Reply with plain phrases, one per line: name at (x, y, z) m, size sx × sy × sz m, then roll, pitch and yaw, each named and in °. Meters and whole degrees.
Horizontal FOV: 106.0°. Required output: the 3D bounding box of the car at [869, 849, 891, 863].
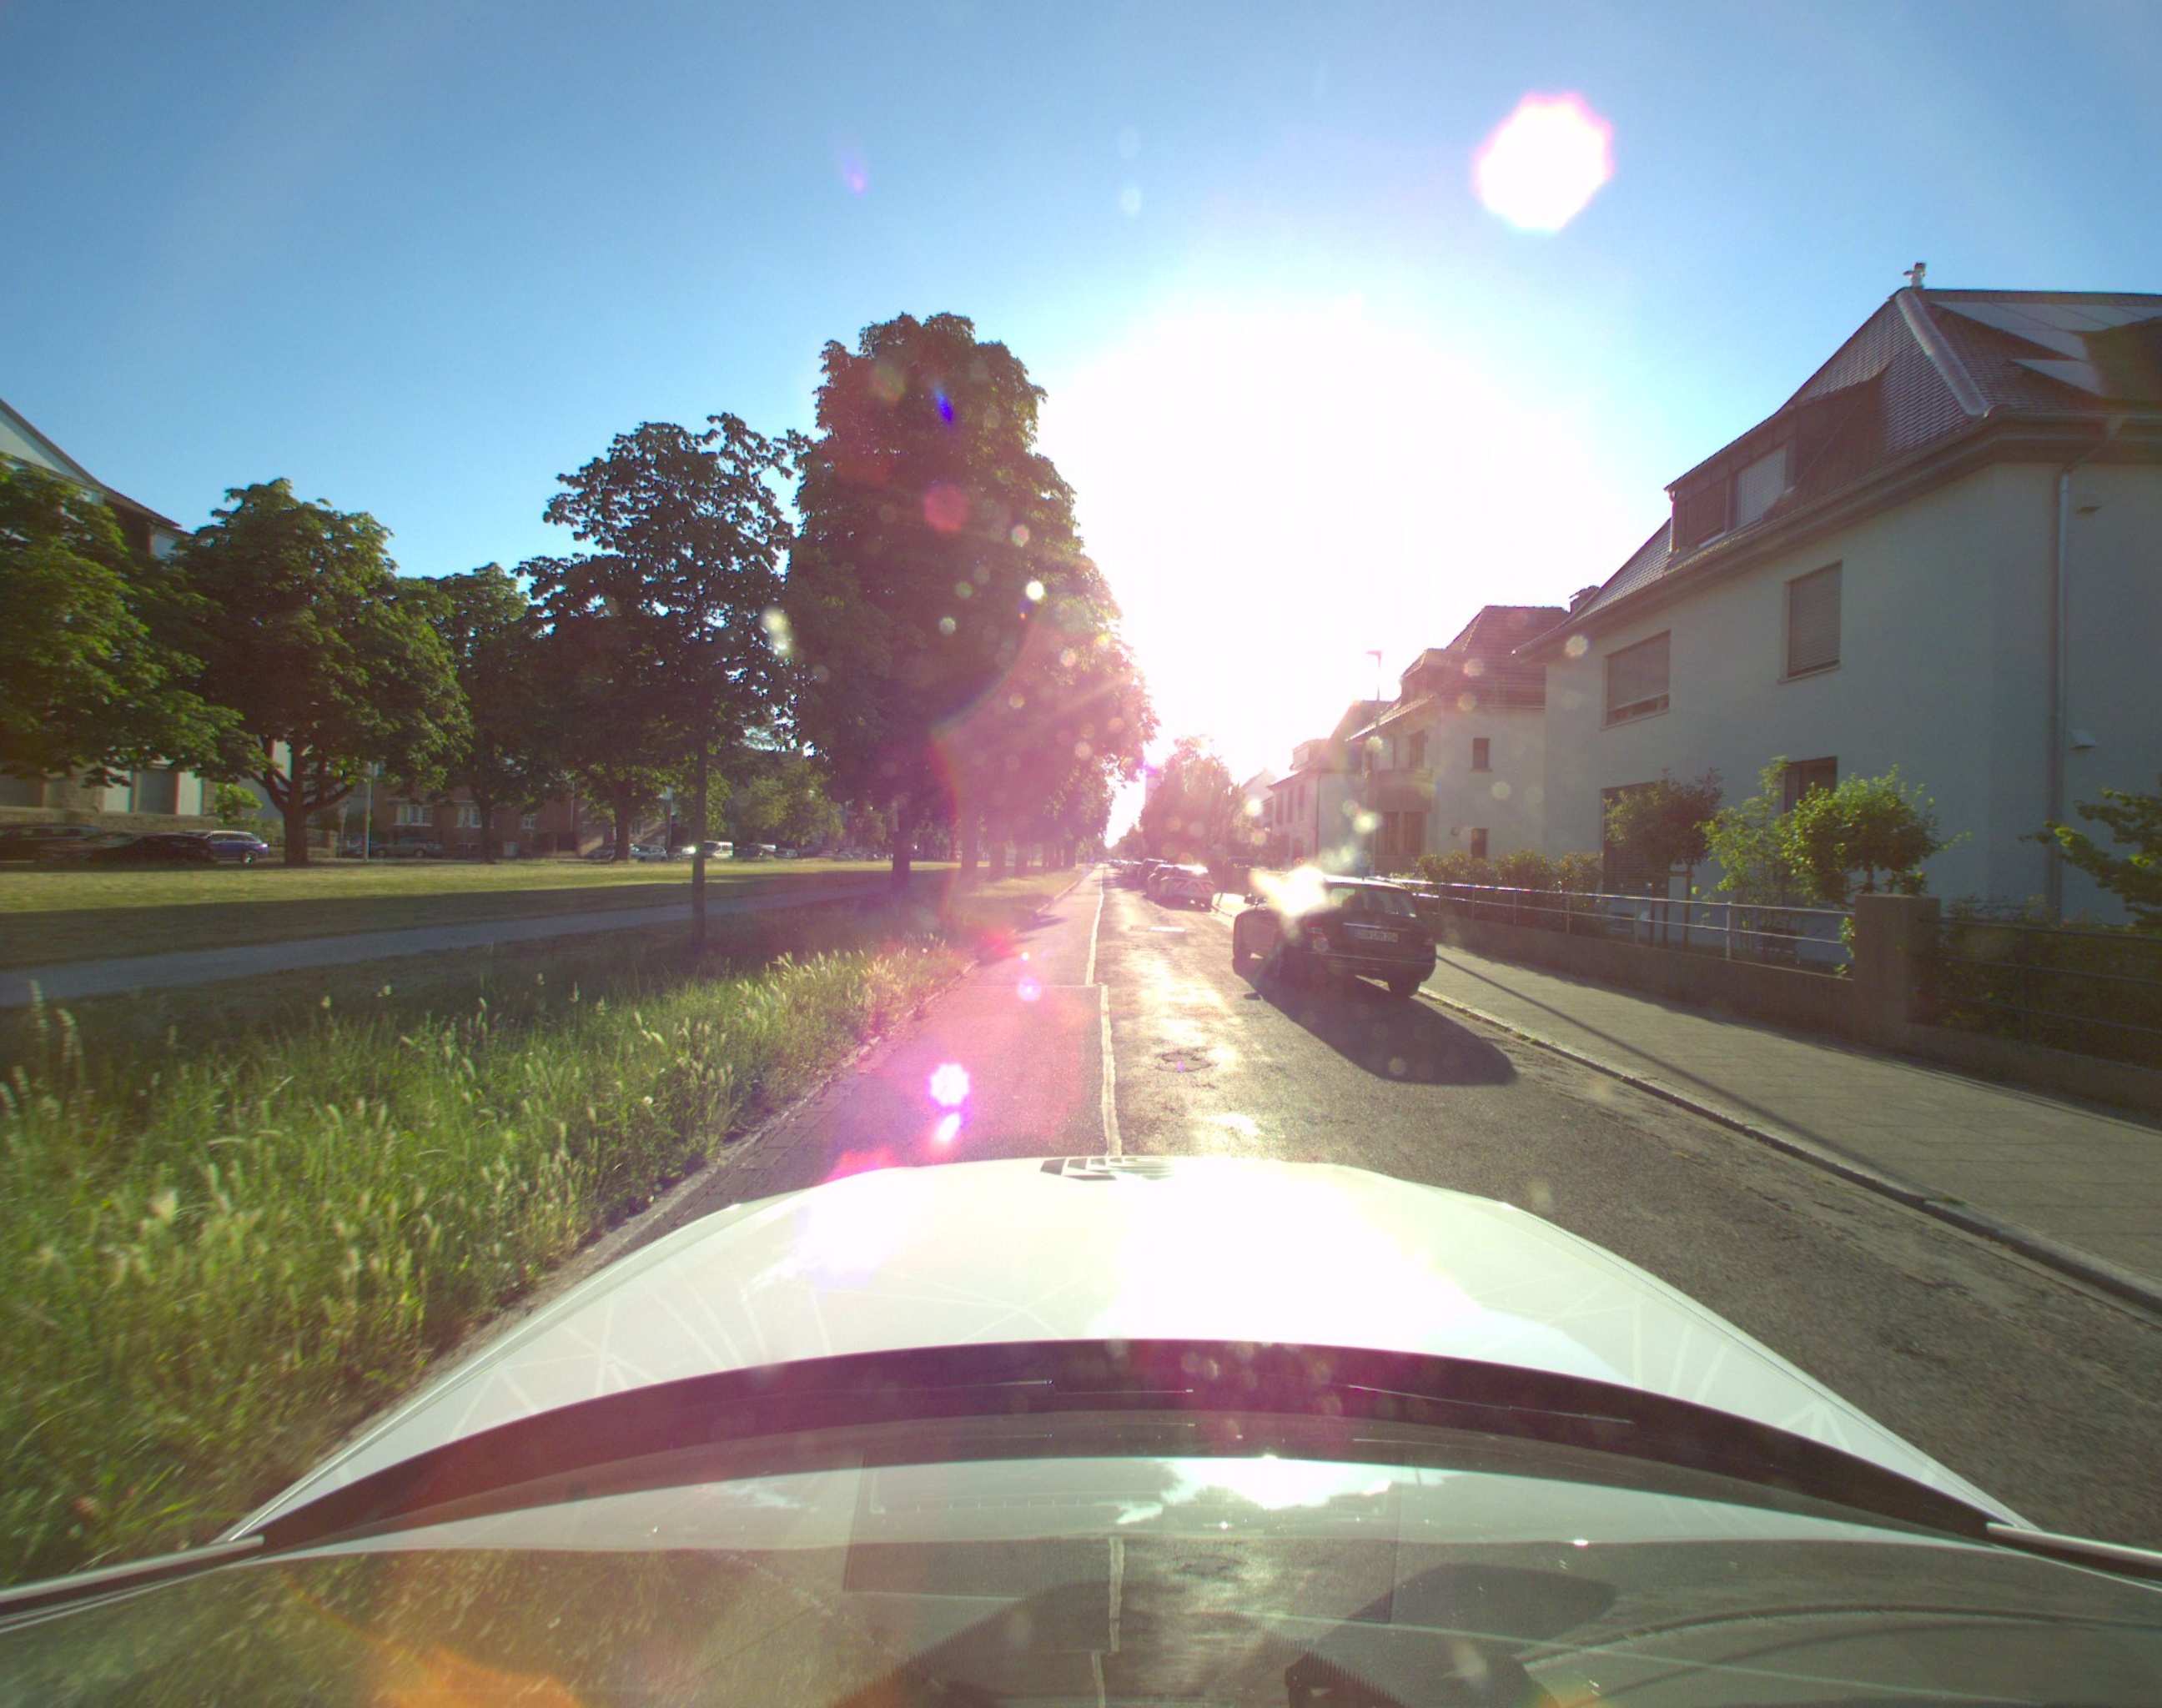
car at (-30.317, 0.322, 123.134) m, size 1.985 × 1.860 × 4.258 m, roll 3°, pitch -1°, yaw 3°

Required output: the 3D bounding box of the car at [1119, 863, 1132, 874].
car at (6.782, 2.252, 123.906) m, size 1.750 × 1.420 × 4.074 m, roll 8°, pitch -1°, yaw 2°

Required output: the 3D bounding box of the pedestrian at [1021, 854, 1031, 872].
pedestrian at (-5.428, 0.851, 80.099) m, size 0.720 × 1.758 × 0.995 m, roll 2°, pitch 0°, yaw 8°

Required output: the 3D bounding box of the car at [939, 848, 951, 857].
car at (-34.285, -0.369, 205.540) m, size 1.986 × 2.014 × 4.485 m, roll 0°, pitch -2°, yaw 1°

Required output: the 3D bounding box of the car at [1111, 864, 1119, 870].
car at (8.961, 3.436, 214.791) m, size 1.985 × 1.629 × 4.002 m, roll 2°, pitch -1°, yaw 3°

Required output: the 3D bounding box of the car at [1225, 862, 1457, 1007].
car at (3.343, 0.939, 11.457) m, size 1.774 × 1.499 × 4.397 m, roll 5°, pitch -1°, yaw 0°

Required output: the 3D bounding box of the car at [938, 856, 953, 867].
car at (-28.803, 1.700, 172.964) m, size 1.986 × 2.250 × 5.188 m, roll 2°, pitch -1°, yaw 2°

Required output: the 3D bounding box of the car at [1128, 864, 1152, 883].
car at (5.098, 1.683, 71.031) m, size 1.787 × 1.492 × 4.675 m, roll 3°, pitch -1°, yaw 1°

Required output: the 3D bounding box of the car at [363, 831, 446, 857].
car at (-45.767, -0.669, 55.129) m, size 3.971 × 1.486 × 1.866 m, roll 3°, pitch -1°, yaw 2°

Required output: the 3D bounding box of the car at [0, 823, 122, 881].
car at (-38.691, -0.085, 29.430) m, size 1.985 × 2.014 × 4.880 m, roll 2°, pitch -1°, yaw 3°

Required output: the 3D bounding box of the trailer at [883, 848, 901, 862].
trailer at (-35.081, 0.263, 151.231) m, size 1.986 × 2.428 × 4.726 m, roll 2°, pitch -1°, yaw 2°

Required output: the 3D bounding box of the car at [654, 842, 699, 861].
car at (-37.620, -0.183, 75.883) m, size 1.750 × 1.623 × 4.307 m, roll 3°, pitch -1°, yaw 2°

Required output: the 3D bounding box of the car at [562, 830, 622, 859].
car at (-37.520, -0.693, 62.638) m, size 1.750 × 2.014 × 4.370 m, roll 3°, pitch 0°, yaw 2°

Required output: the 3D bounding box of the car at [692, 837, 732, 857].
car at (-36.967, -0.650, 81.710) m, size 1.809 × 1.838 × 4.410 m, roll 3°, pitch -1°, yaw 2°

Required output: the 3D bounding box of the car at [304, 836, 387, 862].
car at (-49.896, -0.355, 55.285) m, size 3.883 × 1.574 × 1.836 m, roll 2°, pitch -1°, yaw 0°

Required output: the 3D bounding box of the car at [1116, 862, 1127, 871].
car at (7.235, 2.238, 147.144) m, size 1.753 × 1.605 × 4.358 m, roll 2°, pitch -1°, yaw 0°

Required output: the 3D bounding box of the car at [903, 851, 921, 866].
car at (-34.786, 1.012, 167.739) m, size 2.428 × 2.922 × 5.819 m, roll 0°, pitch -1°, yaw 2°

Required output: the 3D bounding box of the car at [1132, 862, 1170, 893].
car at (4.385, 1.439, 51.546) m, size 1.987 × 1.737 × 4.863 m, roll 3°, pitch -1°, yaw 0°

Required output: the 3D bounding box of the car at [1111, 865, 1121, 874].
car at (7.165, 3.191, 167.966) m, size 1.753 × 1.605 × 4.358 m, roll 2°, pitch -1°, yaw 0°

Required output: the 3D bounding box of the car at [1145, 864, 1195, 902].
car at (4.025, 1.271, 37.503) m, size 1.773 × 1.463 × 4.595 m, roll 5°, pitch -1°, yaw 1°

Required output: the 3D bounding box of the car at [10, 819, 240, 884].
car at (-33.087, -0.044, 28.471) m, size 1.985 × 2.014 × 4.880 m, roll 2°, pitch -1°, yaw 3°

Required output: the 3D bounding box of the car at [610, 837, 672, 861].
car at (-32.110, -0.341, 59.613) m, size 1.812 × 1.639 × 4.651 m, roll 3°, pitch 0°, yaw 1°

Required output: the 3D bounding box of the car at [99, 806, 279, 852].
car at (-38.450, -1.013, 35.351) m, size 1.985 × 1.750 × 5.013 m, roll 2°, pitch 0°, yaw 4°

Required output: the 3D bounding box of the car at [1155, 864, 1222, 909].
car at (4.110, 1.220, 31.774) m, size 1.987 × 1.464 × 4.550 m, roll 4°, pitch 0°, yaw 1°

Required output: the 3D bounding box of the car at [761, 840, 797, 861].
car at (-31.676, -0.341, 85.463) m, size 1.986 × 2.014 × 4.002 m, roll 3°, pitch -1°, yaw 2°

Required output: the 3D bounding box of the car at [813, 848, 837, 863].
car at (-36.155, 0.276, 115.029) m, size 2.023 × 2.014 × 4.002 m, roll 0°, pitch -1°, yaw 2°

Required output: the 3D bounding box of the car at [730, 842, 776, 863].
car at (-31.506, -0.118, 78.445) m, size 1.985 × 1.940 × 5.249 m, roll 2°, pitch 0°, yaw 3°

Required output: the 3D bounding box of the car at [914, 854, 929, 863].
car at (-29.671, 0.881, 151.416) m, size 1.678 × 1.560 × 4.316 m, roll 2°, pitch -1°, yaw 3°

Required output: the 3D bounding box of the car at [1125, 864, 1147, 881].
car at (5.466, 1.821, 81.759) m, size 1.687 × 1.483 × 3.925 m, roll 6°, pitch -1°, yaw -2°
